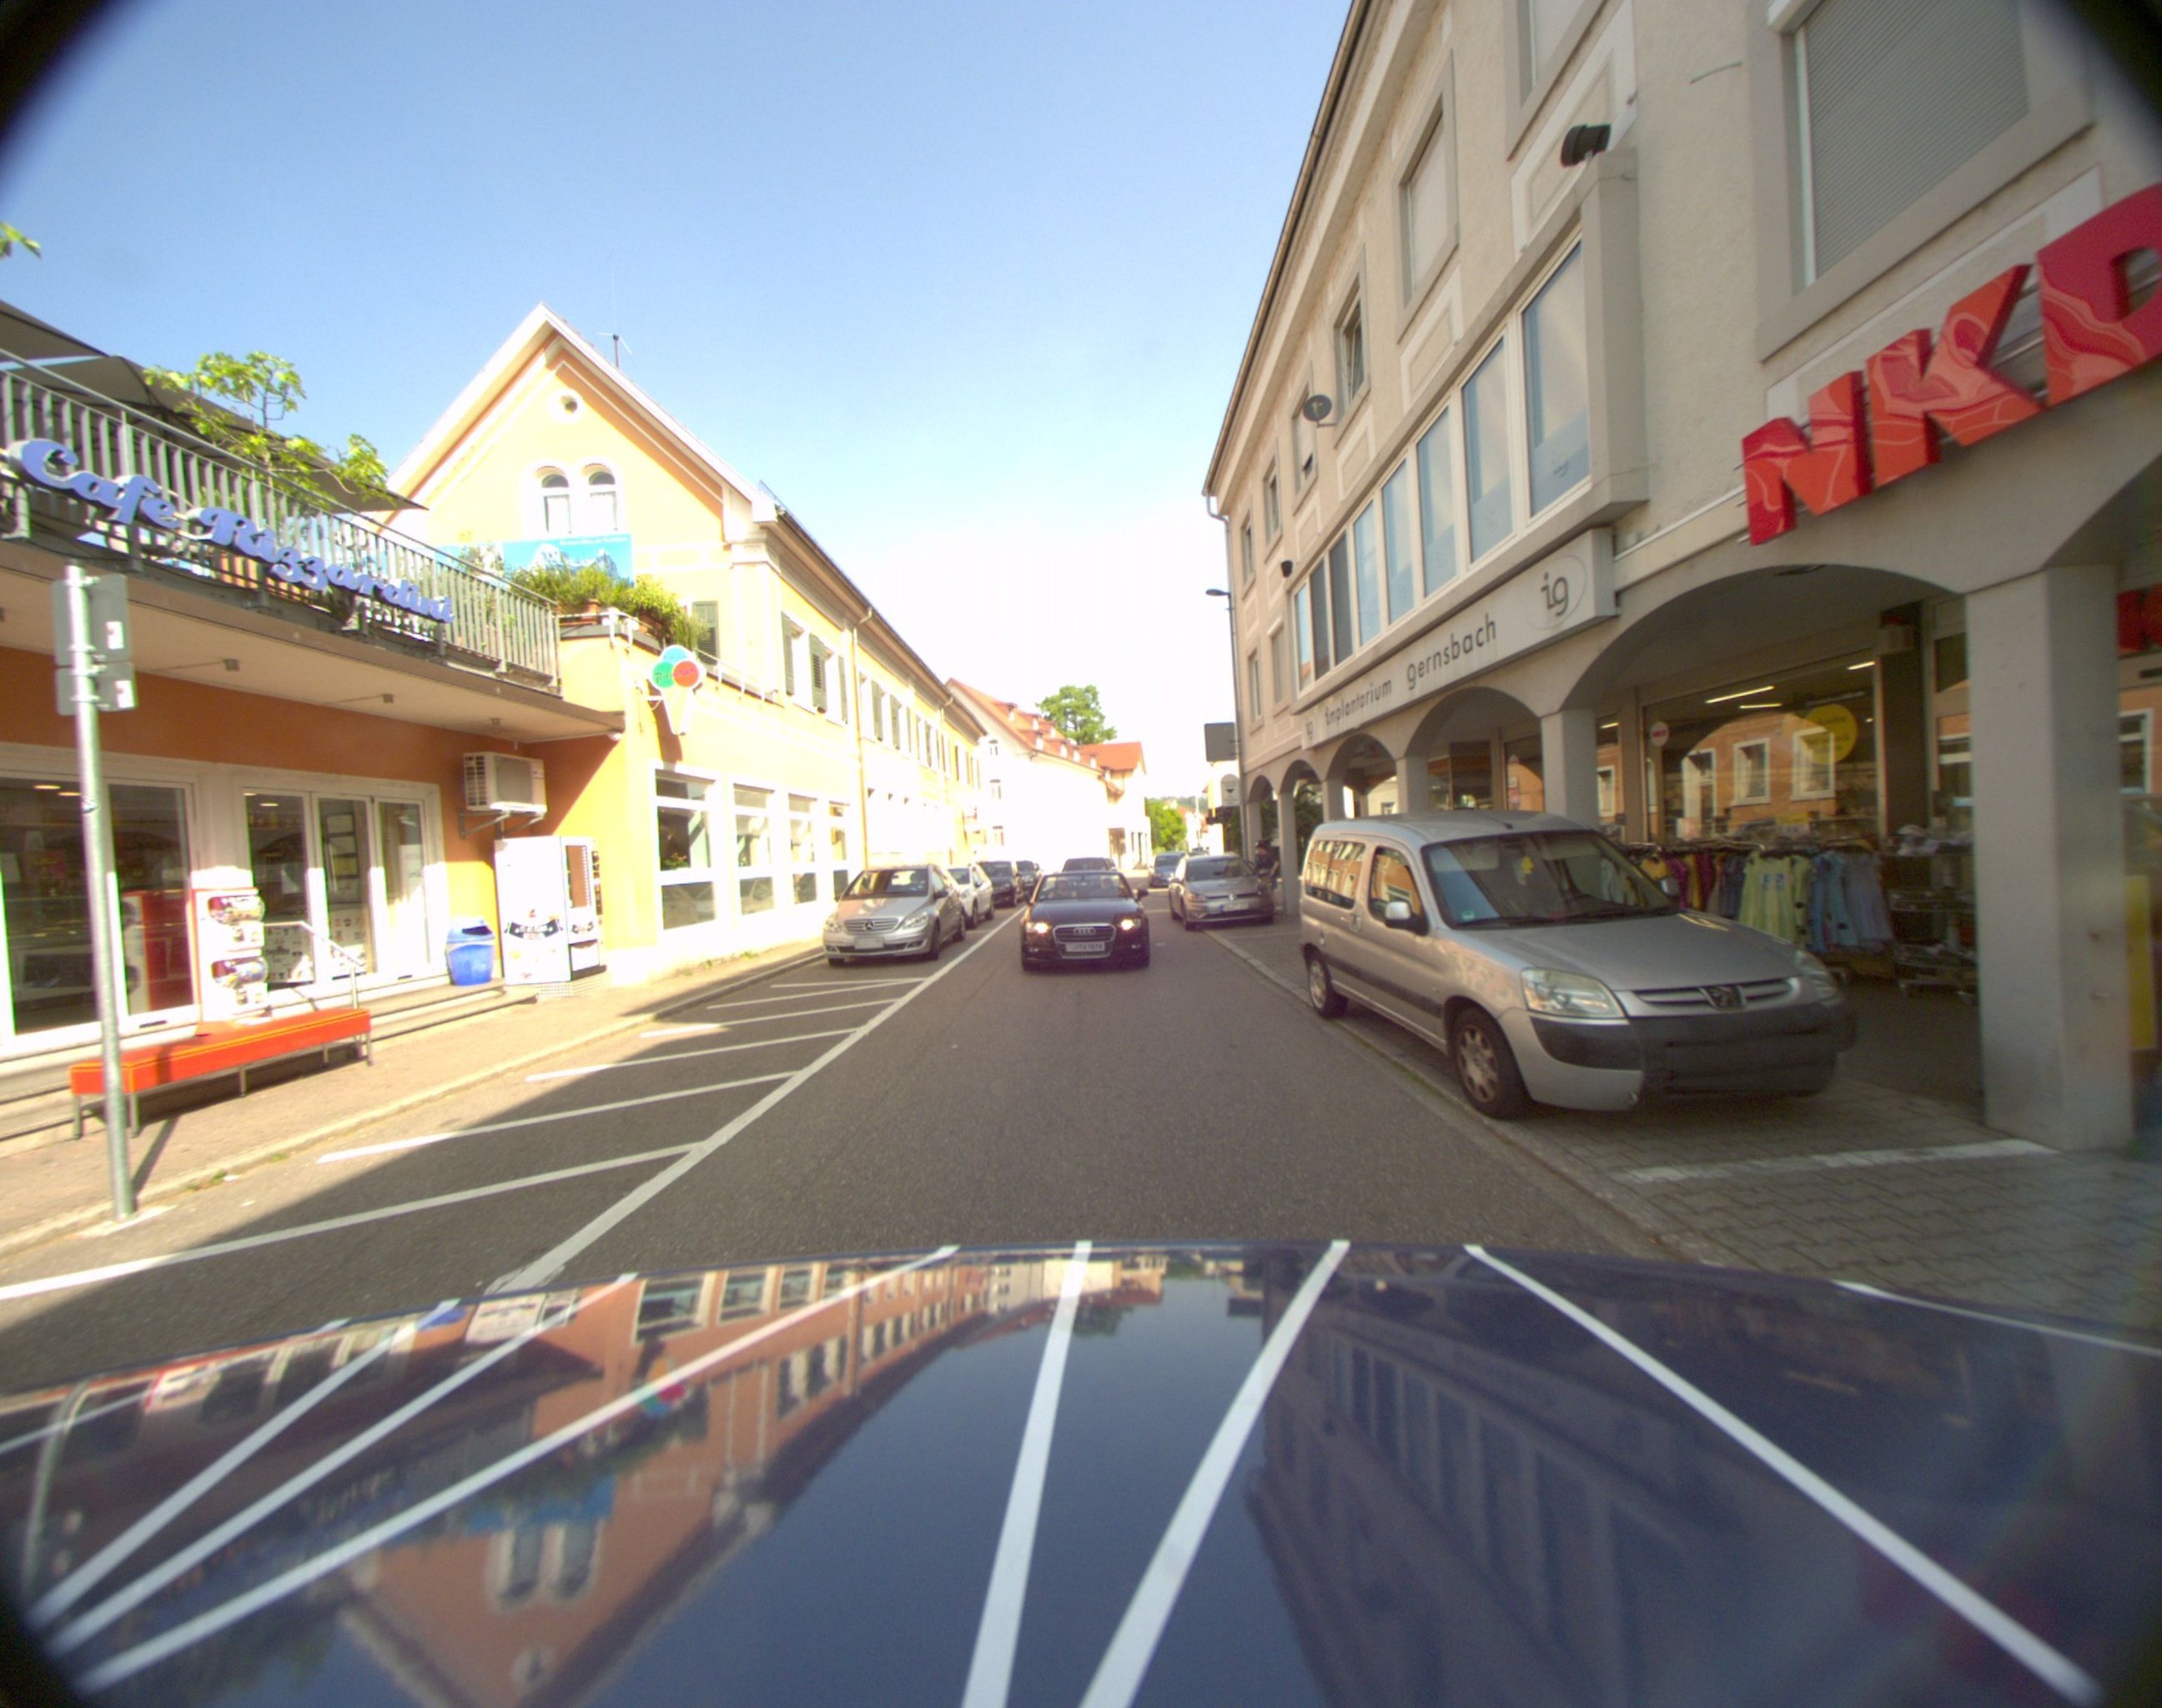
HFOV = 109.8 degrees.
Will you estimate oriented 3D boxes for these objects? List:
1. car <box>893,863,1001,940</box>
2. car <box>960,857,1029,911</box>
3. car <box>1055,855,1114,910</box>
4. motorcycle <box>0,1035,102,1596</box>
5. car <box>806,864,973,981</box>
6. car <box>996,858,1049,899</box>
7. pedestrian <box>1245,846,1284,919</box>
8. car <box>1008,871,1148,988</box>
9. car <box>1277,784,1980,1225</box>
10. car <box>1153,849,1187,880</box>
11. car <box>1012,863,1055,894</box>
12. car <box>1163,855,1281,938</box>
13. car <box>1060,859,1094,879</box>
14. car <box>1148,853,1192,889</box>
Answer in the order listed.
[{"bbox_3d":[-3.177,1.073,18.796,1.682,1.549,4.104,-3,0,2],"label":"car"},{"bbox_3d":[-2.897,0.971,26.342,1.682,1.636,4.251,-2,0,2],"label":"car"},{"bbox_3d":[0.176,0.866,24.588,1.682,1.551,3.971,-3,0,2],"label":"car"},{"bbox_3d":[-3.564,1.208,1.308,2.094,1.262,0.927,-3,1,-38],"label":"motorcycle"},{"bbox_3d":[-3.167,1.043,13.591,1.750,1.587,4.594,-3,0,0],"label":"car"},{"bbox_3d":[-2.403,0.994,32.218,1.682,1.531,4.187,-2,0,2],"label":"car"},{"bbox_3d":[4.061,0.625,16.841,0.623,1.542,0.534,-3,1,-3],"label":"pedestrian"},{"bbox_3d":[0.050,1.013,11.804,1.755,1.348,4.200,-2,0,2],"label":"car"},{"bbox_3d":[2.868,0.637,5.284,1.711,1.729,4.145,-5,0,-2],"label":"car"},{"bbox_3d":[5.238,0.598,44.474,1.681,1.658,3.974,-3,0,10],"label":"car"},{"bbox_3d":[-2.321,1.166,37.774,1.682,1.311,3.696,-3,0,2],"label":"car"},{"bbox_3d":[2.897,0.803,16.567,1.807,1.461,4.455,-3,0,2],"label":"car"},{"bbox_3d":[-0.236,1.040,53.095,1.526,1.237,4.038,-3,0,12],"label":"car"},{"bbox_3d":[4.120,0.747,35.685,1.769,1.551,3.972,-3,0,3],"label":"car"}]
